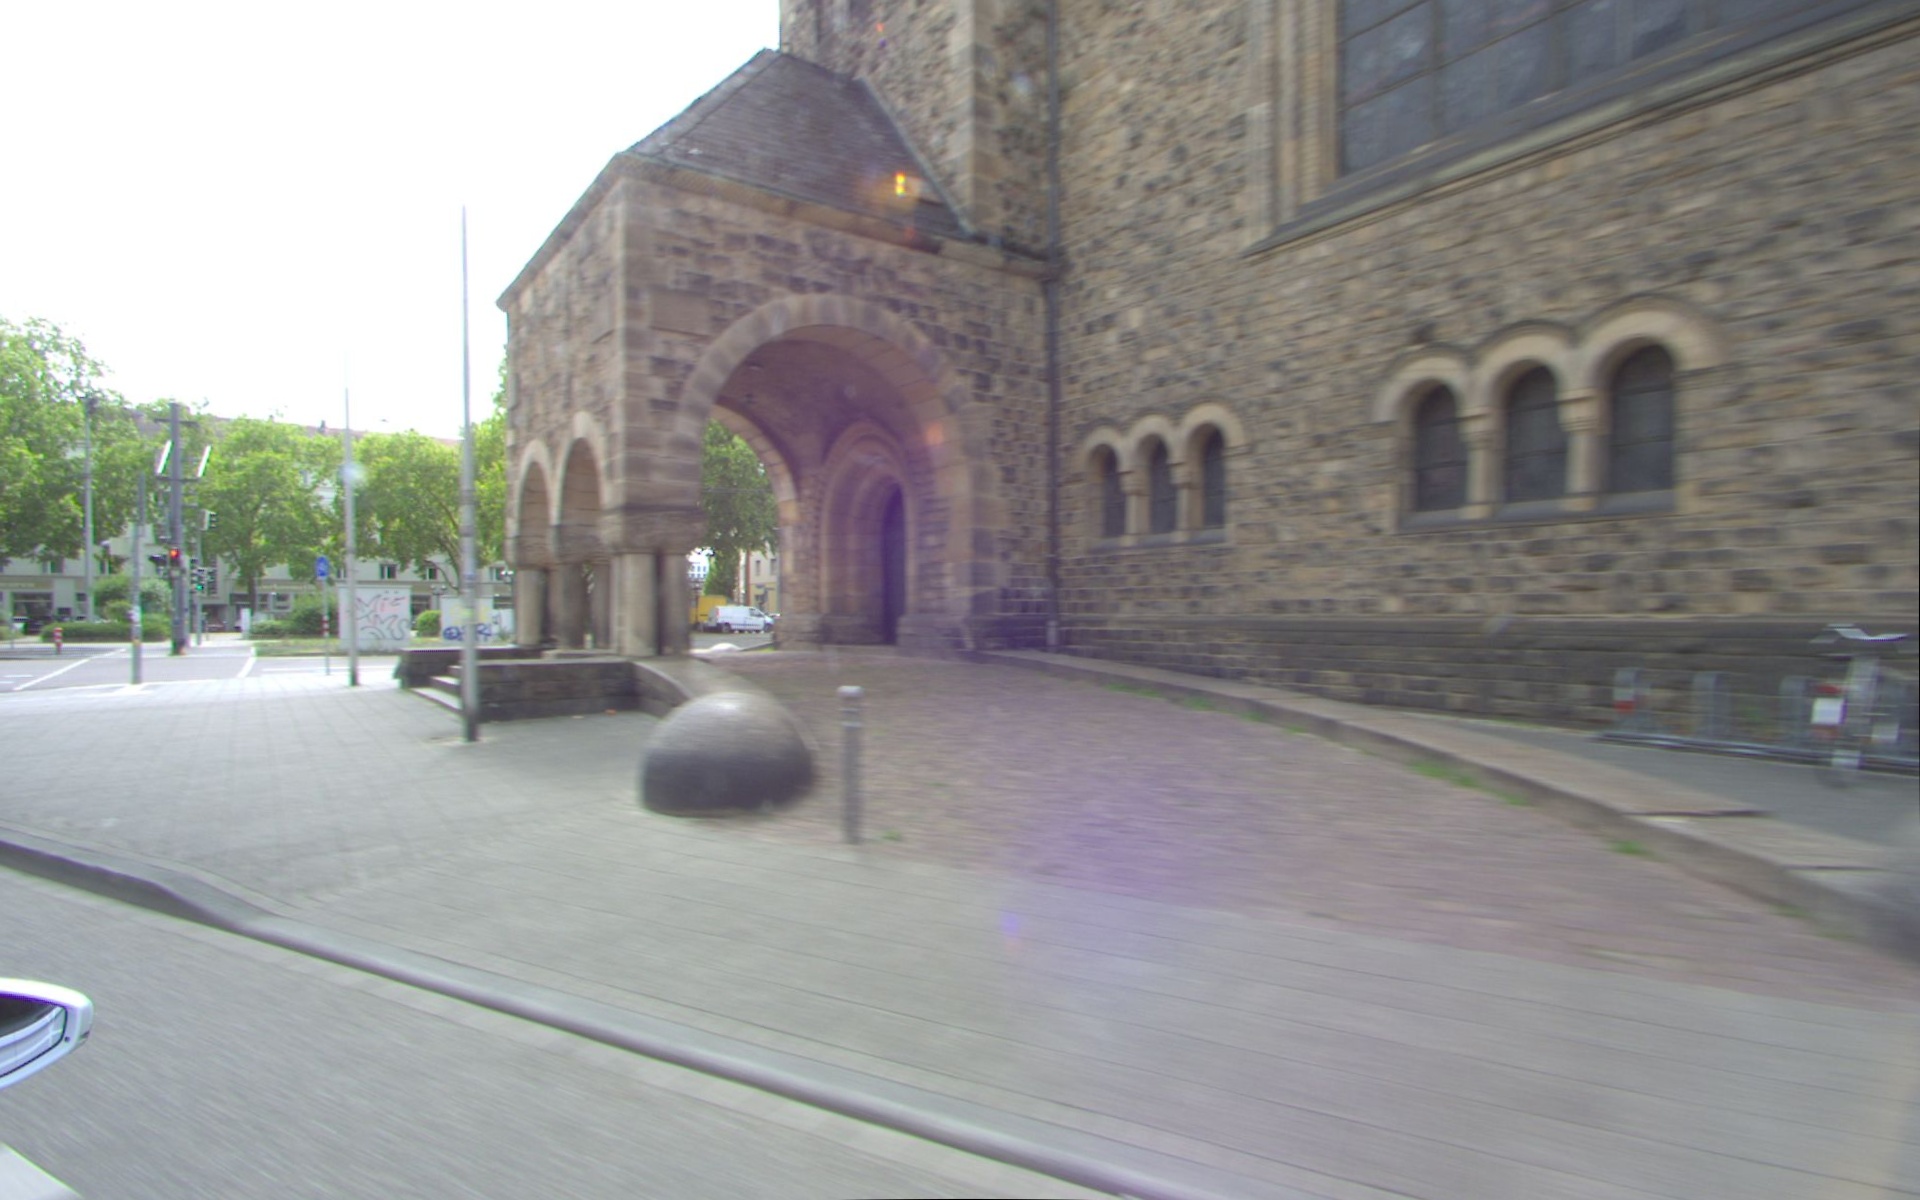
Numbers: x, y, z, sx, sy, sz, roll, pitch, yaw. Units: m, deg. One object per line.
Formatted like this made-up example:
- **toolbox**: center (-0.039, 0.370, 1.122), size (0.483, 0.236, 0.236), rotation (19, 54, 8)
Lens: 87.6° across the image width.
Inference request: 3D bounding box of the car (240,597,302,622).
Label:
- **car**: center (-54.446, 0.738, 79.180), size (3.950, 1.908, 1.844), rotation (0, 0, -36)

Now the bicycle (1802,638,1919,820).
- **bicycle**: center (6.653, 0.872, 7.299), size (1.763, 1.127, 0.541), rotation (0, 1, -42)

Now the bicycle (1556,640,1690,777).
- **bicycle**: center (5.748, 0.883, 8.647), size (1.763, 0.970, 0.541), rotation (-2, 2, -42)

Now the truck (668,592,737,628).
- **truck**: center (-19.978, 0.769, 77.455), size (3.043, 2.611, 6.463), rotation (0, 0, -36)

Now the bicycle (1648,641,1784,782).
- **bicycle**: center (6.140, 0.846, 8.100), size (1.763, 0.970, 0.541), rotation (0, 1, -42)

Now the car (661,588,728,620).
- **car**: center (-23.007, 0.371, 86.834), size (5.274, 2.618, 2.163), rotation (0, -2, -38)

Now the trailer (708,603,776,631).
- **trailer**: center (-15.499, 1.208, 71.217), size (4.380, 1.951, 1.841), rotation (0, 0, -36)
